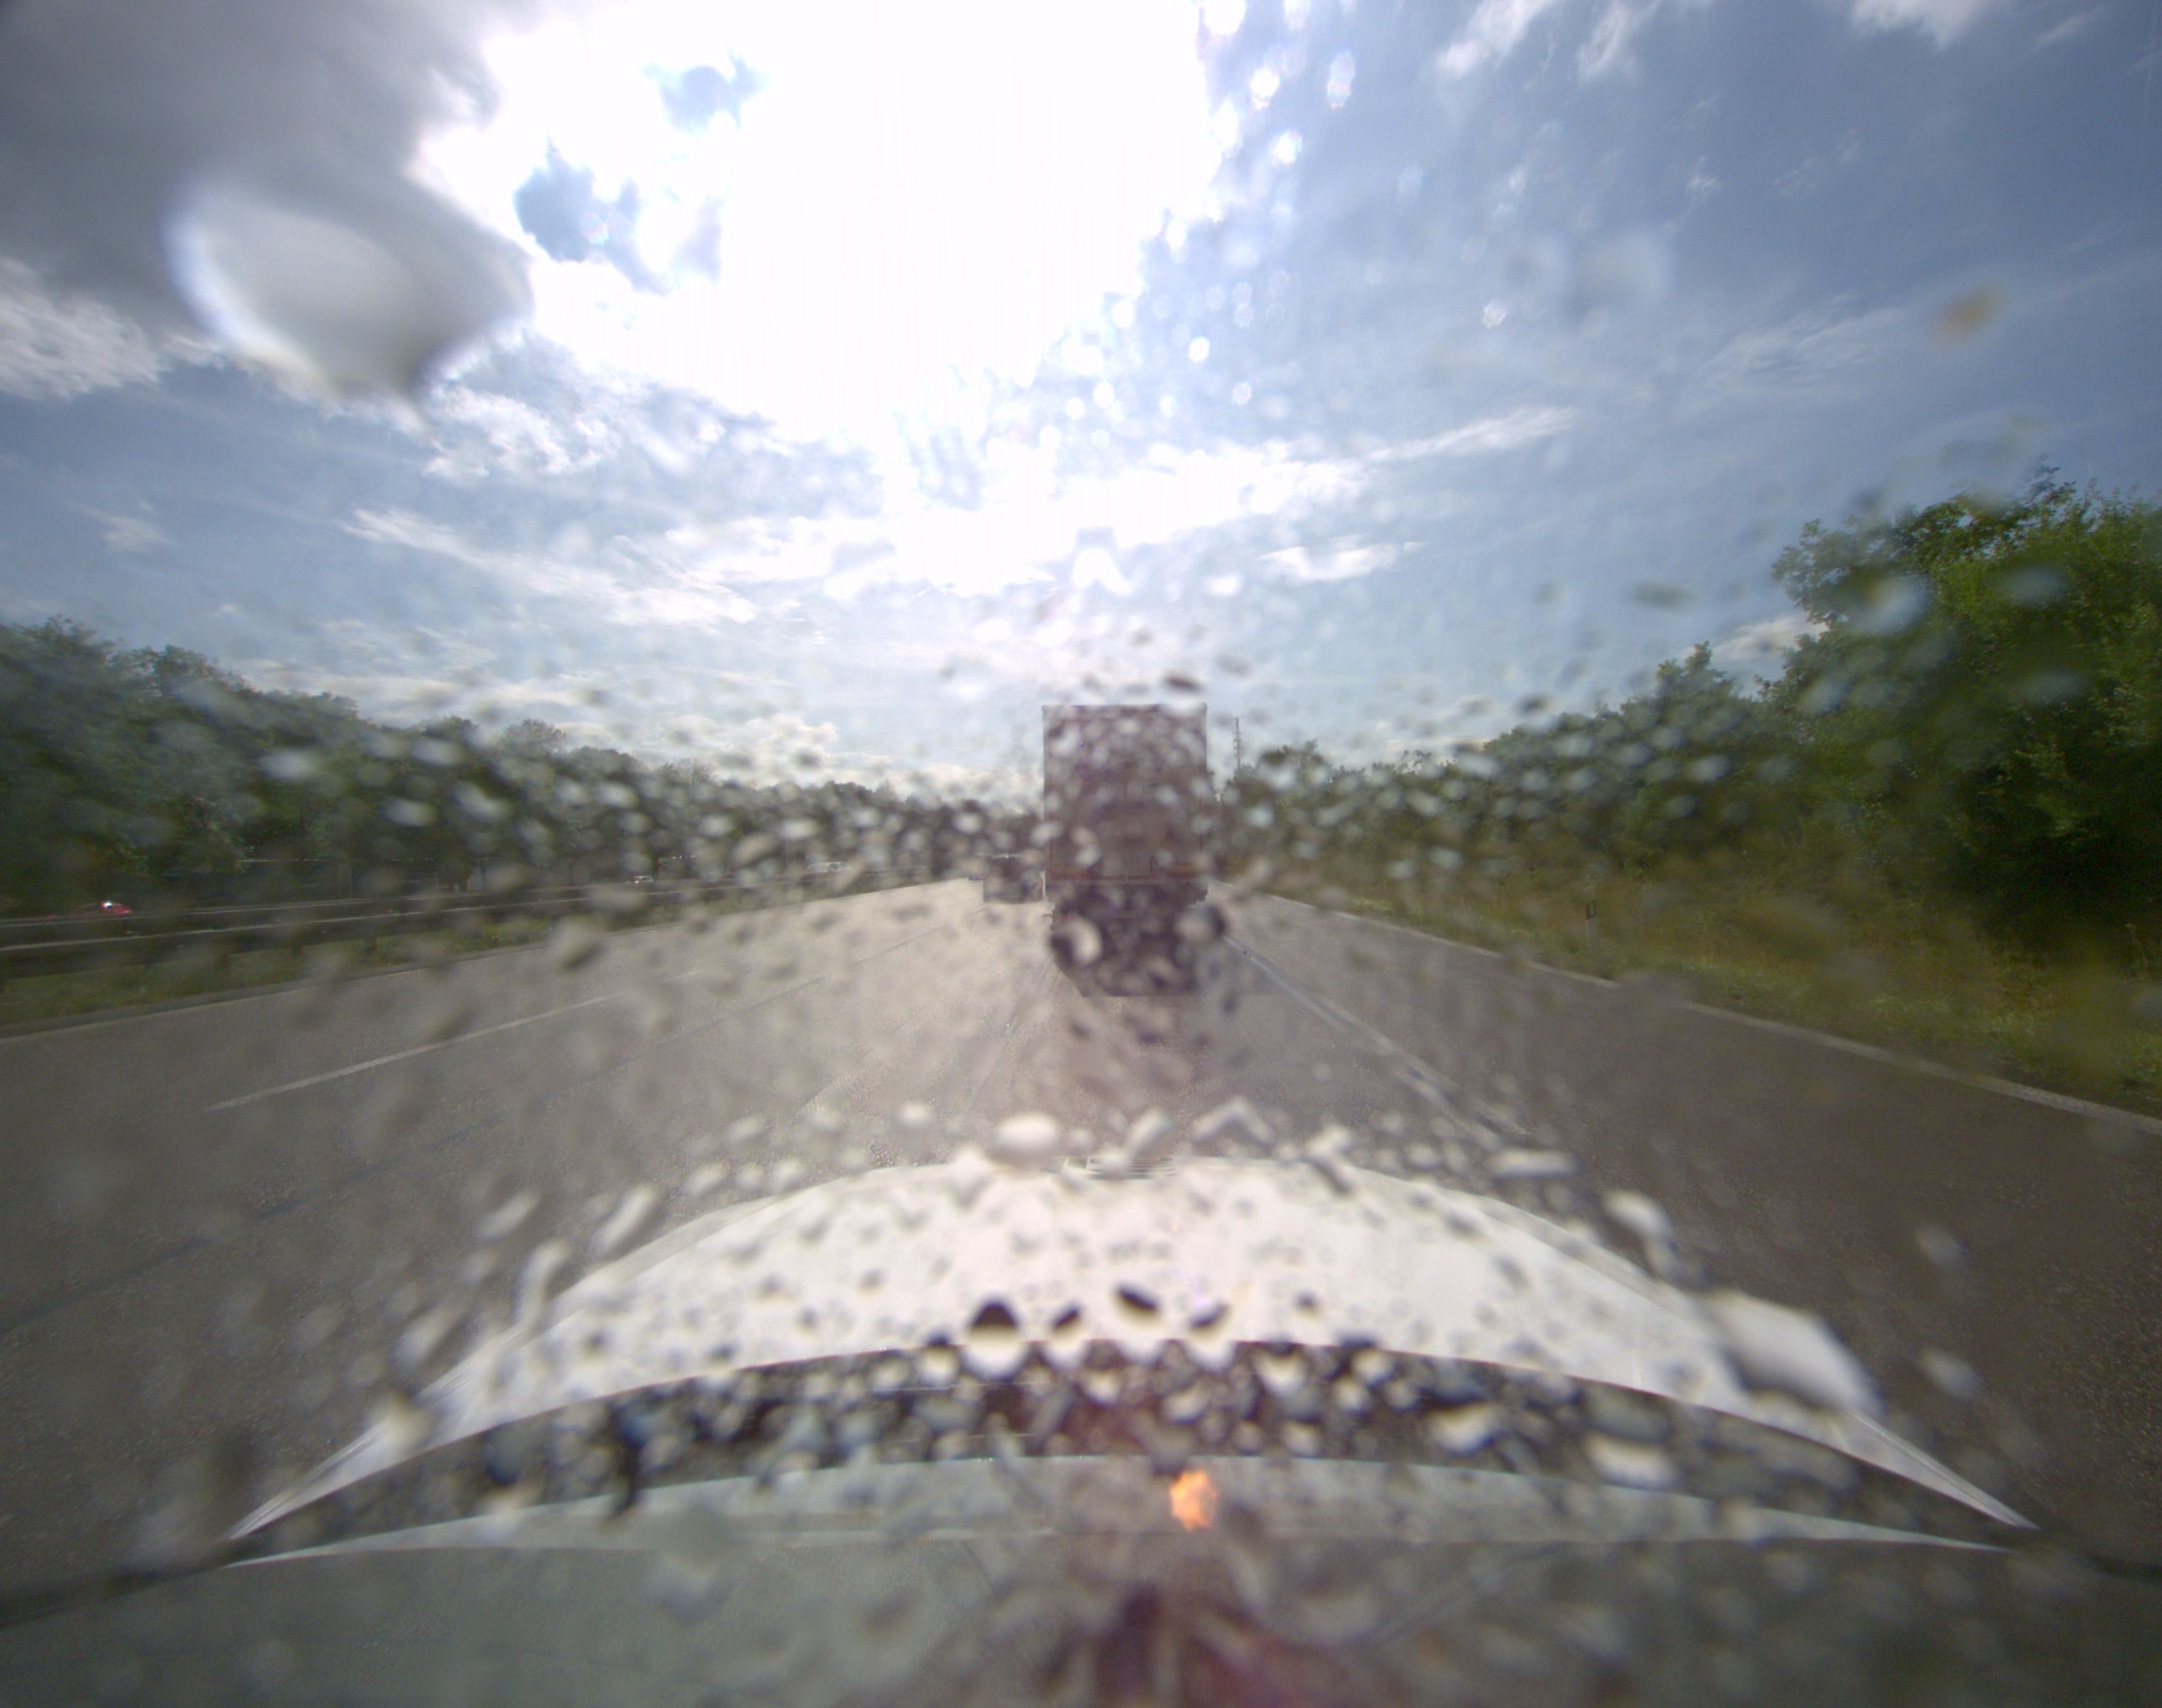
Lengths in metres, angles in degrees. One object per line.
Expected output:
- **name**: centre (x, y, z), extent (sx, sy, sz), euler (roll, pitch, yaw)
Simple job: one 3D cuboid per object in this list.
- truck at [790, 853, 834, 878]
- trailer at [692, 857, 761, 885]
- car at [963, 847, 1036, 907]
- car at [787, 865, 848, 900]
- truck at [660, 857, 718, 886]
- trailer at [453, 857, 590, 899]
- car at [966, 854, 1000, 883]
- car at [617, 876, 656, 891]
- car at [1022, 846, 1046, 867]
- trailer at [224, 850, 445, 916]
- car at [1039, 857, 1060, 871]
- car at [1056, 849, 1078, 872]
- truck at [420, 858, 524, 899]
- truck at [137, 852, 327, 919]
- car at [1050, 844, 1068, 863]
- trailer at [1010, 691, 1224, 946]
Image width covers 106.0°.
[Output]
- **truck**: centre (-45.266, 1.937, 137.344), extent (3.759, 4.117, 7.075), euler (0, -1, 16)
- **trailer**: centre (-50.233, 2.298, 115.781), extent (3.766, 3.649, 10.526), euler (-2, 0, 10)
- **car**: centre (-2.822, 0.783, 29.144), extent (2.268, 1.954, 4.817), euler (0, -1, -2)
- **car**: centre (-15.004, 1.581, 46.665), extent (1.823, 1.891, 4.781), euler (0, -1, 2)
- **truck**: centre (-51.554, 2.276, 107.351), extent (3.767, 3.660, 6.720), euler (0, -1, 8)
- **trailer**: centre (-55.358, 2.233, 81.401), extent (3.773, 3.649, 13.357), euler (-2, 0, 3)
- **car**: centre (-6.408, 0.941, 53.657), extent (1.686, 1.805, 3.976), euler (0, -1, 1)
- **car**: centre (-53.095, 3.516, 97.377), extent (2.049, 1.718, 4.374), euler (0, -1, 5)
- **car**: centre (-4.705, 0.230, 82.245), extent (1.970, 2.054, 4.760), euler (0, -1, 3)
- **trailer**: centre (-57.006, 2.005, 63.190), extent (3.773, 4.405, 13.813), euler (-2, 0, 3)
- **car**: centre (-3.576, 1.150, 93.599), extent (1.985, 1.565, 4.760), euler (0, -1, 3)
- **car**: centre (-1.136, 0.556, 66.626), extent (1.686, 1.805, 3.976), euler (0, -1, 1)
- **truck**: centre (-55.749, 2.194, 74.907), extent (3.772, 3.589, 7.360), euler (0, -1, 3)
- **truck**: centre (-57.384, 2.008, 55.498), extent (3.772, 4.234, 8.423), euler (0, -1, 3)
- **car**: centre (-2.958, -0.036, 110.600), extent (1.985, 2.615, 5.263), euler (0, -1, 3)
- **trailer**: centre (0.762, -0.541, 19.530), extent (3.271, 3.898, 14.133), euler (0, 0, 2)
